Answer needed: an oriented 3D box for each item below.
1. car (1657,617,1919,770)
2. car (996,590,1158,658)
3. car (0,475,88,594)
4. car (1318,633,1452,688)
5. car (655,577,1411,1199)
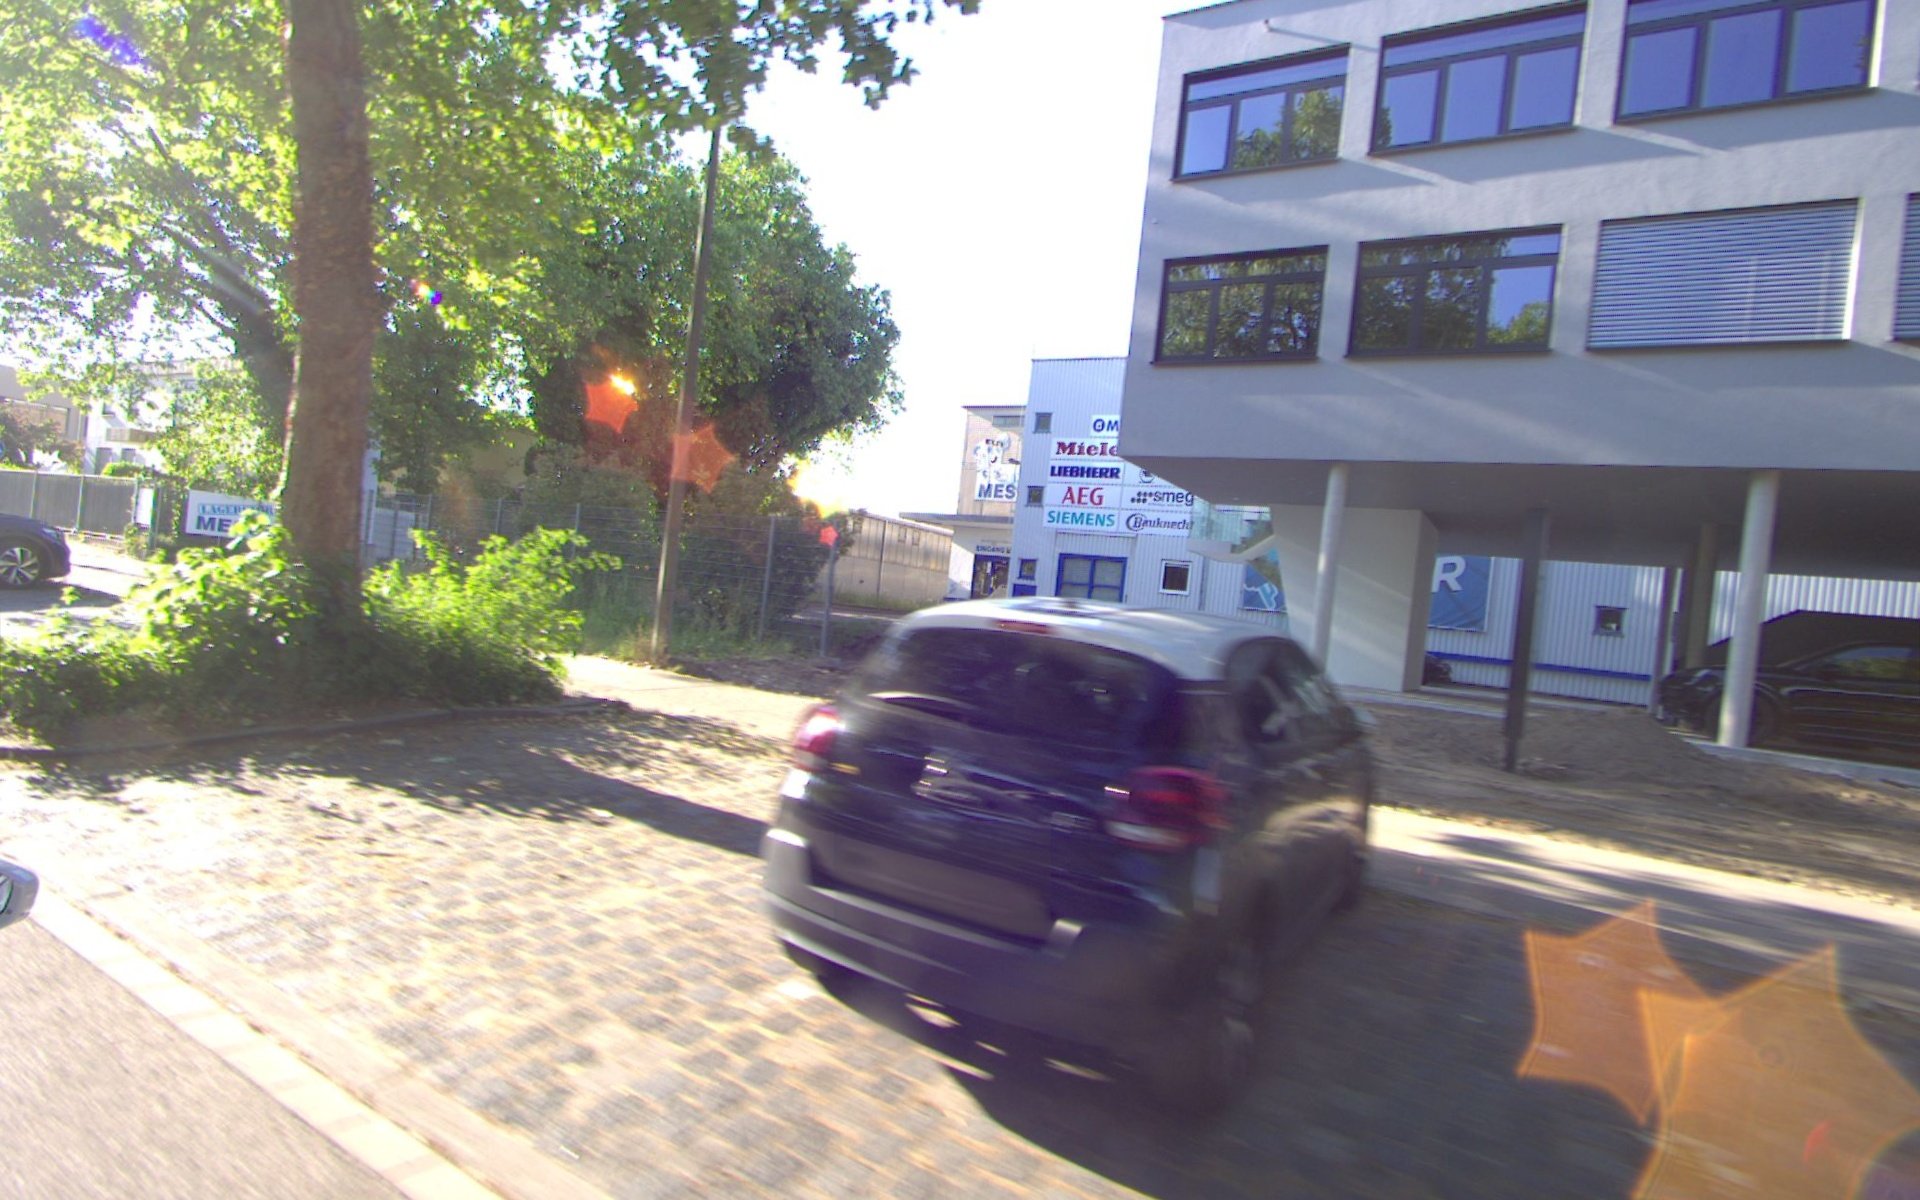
[{"bbox_3d":[12.786,1.404,14.254,4.597,1.752,1.994,6,-2,37],"label":"car"},{"bbox_3d":[3.753,0.758,32.428,4.691,1.564,1.998,6,-1,28],"label":"car"},{"bbox_3d":[-15.588,-1.085,14.183,1.910,1.739,4.572,6,2,28],"label":"car"},{"bbox_3d":[14.664,2.070,34.730,3.934,1.348,1.873,6,-2,32],"label":"car"},{"bbox_3d":[0.755,0.778,4.515,1.829,1.506,3.785,6,3,30],"label":"car"}]
